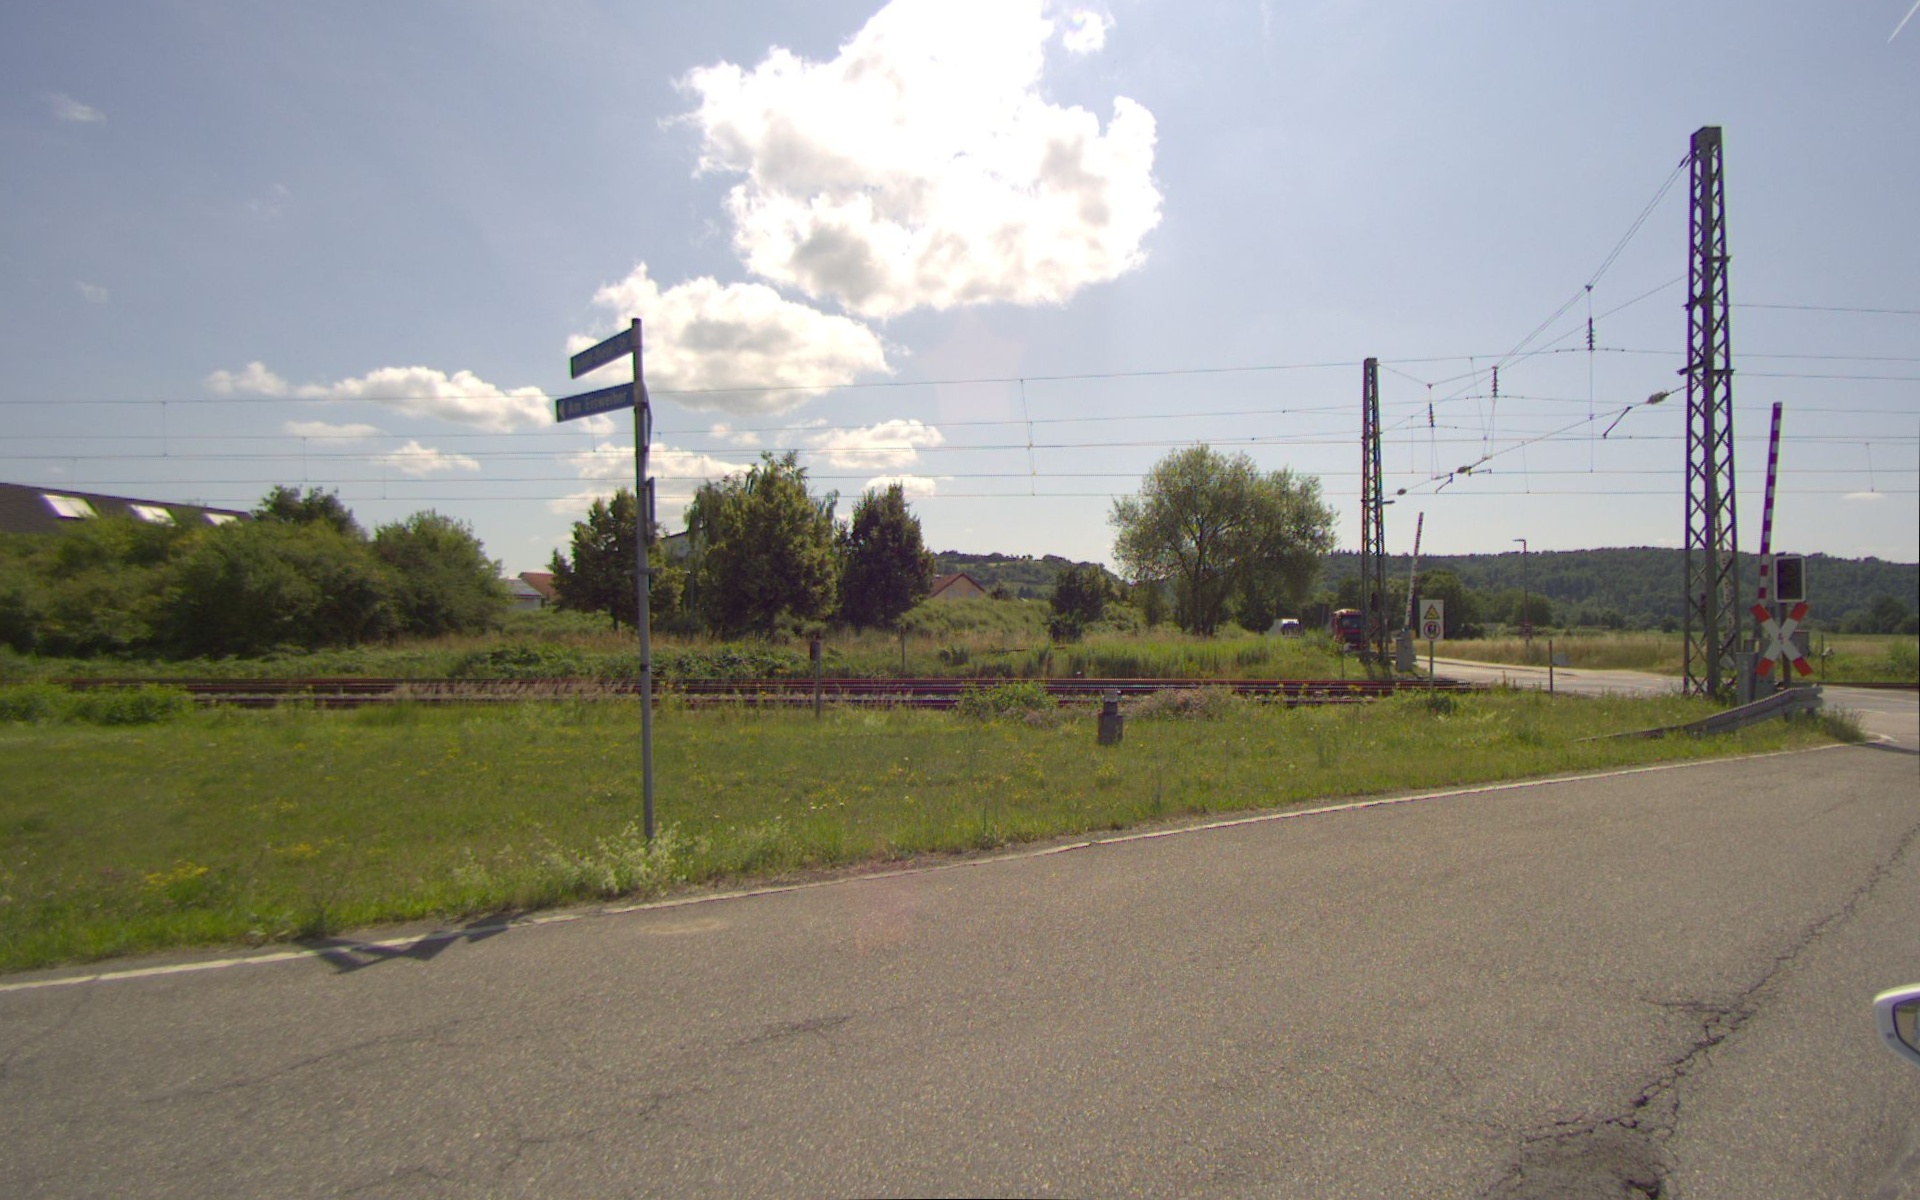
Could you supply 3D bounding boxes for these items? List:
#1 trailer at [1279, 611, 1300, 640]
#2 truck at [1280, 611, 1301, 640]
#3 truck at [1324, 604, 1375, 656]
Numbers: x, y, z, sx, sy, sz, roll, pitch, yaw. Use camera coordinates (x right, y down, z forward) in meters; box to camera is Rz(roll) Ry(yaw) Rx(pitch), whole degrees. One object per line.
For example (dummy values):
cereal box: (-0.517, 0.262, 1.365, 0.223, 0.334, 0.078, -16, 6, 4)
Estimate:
trailer: (48.151, 3.814, 147.030, 2.540, 4.000, 13.065, -1, -2, 16)
truck: (46.201, 3.569, 140.324, 2.528, 4.000, 6.042, -1, -2, 16)
truck: (30.409, 2.364, 78.890, 2.824, 3.794, 12.154, 0, -2, 17)
